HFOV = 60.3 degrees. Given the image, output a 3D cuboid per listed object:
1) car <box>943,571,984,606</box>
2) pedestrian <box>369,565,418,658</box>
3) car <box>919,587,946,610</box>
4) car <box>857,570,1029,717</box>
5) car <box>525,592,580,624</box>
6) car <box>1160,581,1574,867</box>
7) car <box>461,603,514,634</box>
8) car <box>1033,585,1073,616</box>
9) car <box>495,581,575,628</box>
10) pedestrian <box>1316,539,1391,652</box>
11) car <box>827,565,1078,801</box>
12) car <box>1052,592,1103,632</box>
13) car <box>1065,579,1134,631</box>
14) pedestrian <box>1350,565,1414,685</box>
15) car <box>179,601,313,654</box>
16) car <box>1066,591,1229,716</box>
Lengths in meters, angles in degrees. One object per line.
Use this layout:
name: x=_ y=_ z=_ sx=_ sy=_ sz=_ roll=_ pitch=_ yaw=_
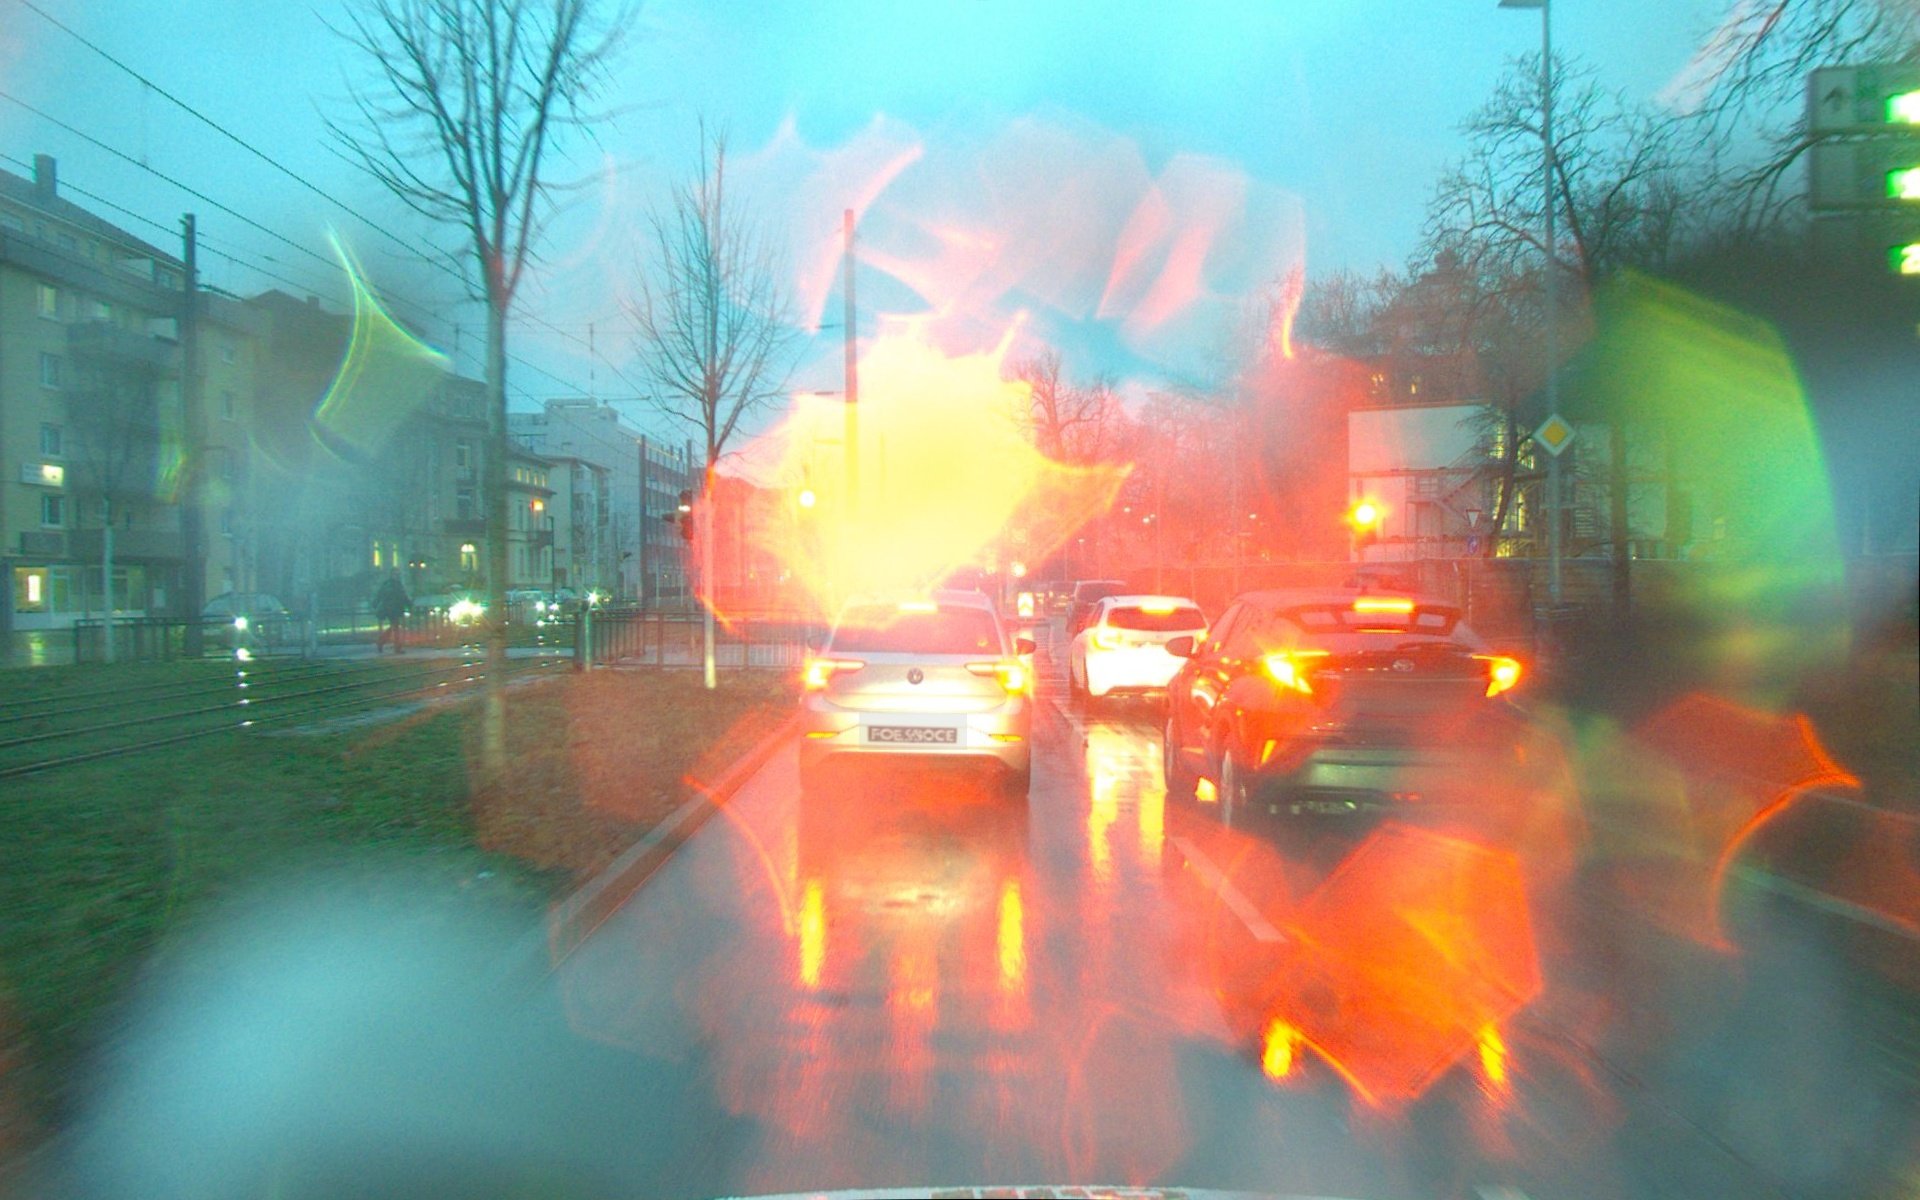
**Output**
car: x=0.146 y=-0.506 z=70.734 sx=1.702 sy=1.444 sz=4.393 roll=-1 pitch=1 yaw=0
pedestrian: x=-12.682 y=0.249 z=37.022 sx=0.990 sy=2.049 sz=0.956 roll=-1 pitch=0 yaw=-21
car: x=-1.778 y=-0.117 z=108.804 sx=1.702 sy=1.444 sz=3.803 roll=-1 pitch=1 yaw=0
car: x=-0.176 y=0.426 z=19.467 sx=1.762 sy=1.492 sz=4.585 roll=-1 pitch=1 yaw=0
car: x=-21.677 y=0.438 z=88.191 sx=1.910 sy=1.630 sz=4.000 roll=1 pitch=0 yaw=0
car: x=2.440 y=0.662 z=10.903 sx=1.763 sy=1.537 sz=3.895 roll=0 pitch=0 yaw=0
car: x=-21.560 y=0.829 z=75.584 sx=1.658 sy=1.300 sz=4.143 roll=0 pitch=0 yaw=-6
car: x=4.544 y=-0.015 z=80.937 sx=1.702 sy=1.444 sz=4.146 roll=-1 pitch=1 yaw=0
car: x=-15.736 y=0.166 z=61.400 sx=1.953 sy=1.630 sz=3.999 roll=1 pitch=0 yaw=-1
pedestrian: x=7.331 y=-0.090 z=30.854 sx=0.945 sy=2.049 sz=1.001 roll=-1 pitch=0 yaw=-23
car: x=-0.130 y=0.537 z=13.016 sx=1.659 sy=1.560 sz=3.998 roll=1 pitch=1 yaw=-2
car: x=4.526 y=0.452 z=64.245 sx=1.702 sy=1.444 sz=3.703 roll=-1 pitch=1 yaw=0
car: x=4.042 y=0.119 z=48.475 sx=1.702 sy=1.444 sz=3.703 roll=-1 pitch=1 yaw=0
pedestrian: x=7.320 y=0.421 z=28.712 sx=0.938 sy=2.049 sz=1.008 roll=-1 pitch=0 yaw=7
car: x=-19.763 y=0.727 z=45.975 sx=1.821 sy=1.355 sz=4.315 roll=1 pitch=0 yaw=0
car: x=2.369 y=0.639 z=21.720 sx=1.709 sy=1.458 sz=3.731 roll=1 pitch=0 yaw=0
